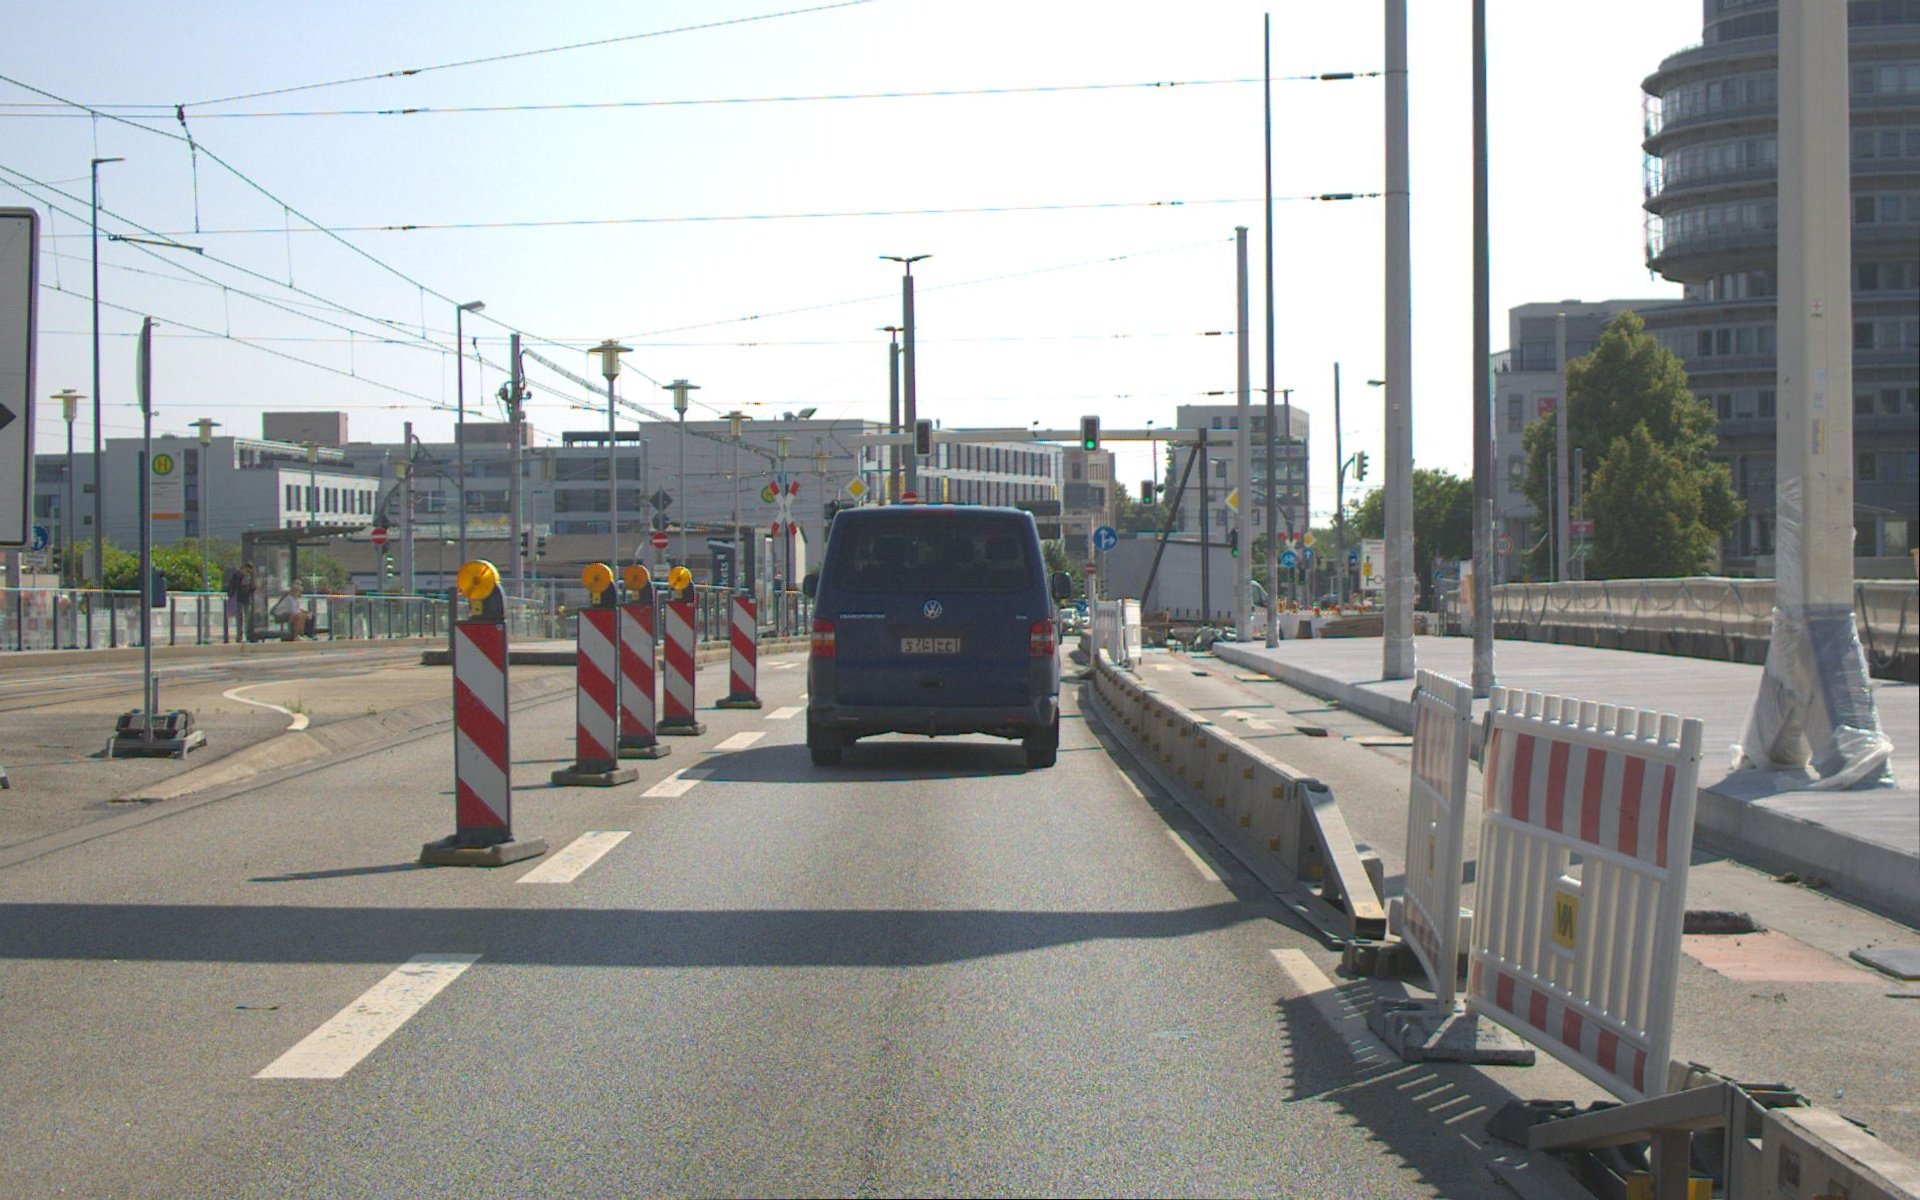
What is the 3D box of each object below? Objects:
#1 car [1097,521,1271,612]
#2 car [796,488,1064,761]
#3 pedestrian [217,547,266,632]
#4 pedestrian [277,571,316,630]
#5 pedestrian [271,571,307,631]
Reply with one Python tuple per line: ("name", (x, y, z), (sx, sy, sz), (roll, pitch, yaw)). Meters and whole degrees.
("car", (7.360, -1.103, 112.537), (2.345, 2.877, 5.955), (2, 2, 44))
("car", (-0.234, 0.143, 26.803), (1.888, 1.927, 4.000), (1, 1, -1))
("pedestrian", (-13.946, -0.211, 66.745), (0.660, 1.649, 0.739), (0, 1, 13))
("pedestrian", (-14.302, 0.015, 74.116), (0.648, 1.269, 0.697), (0, 0, 5))
("pedestrian", (-14.357, 0.024, 73.532), (0.648, 1.269, 0.453), (0, 0, 5))
